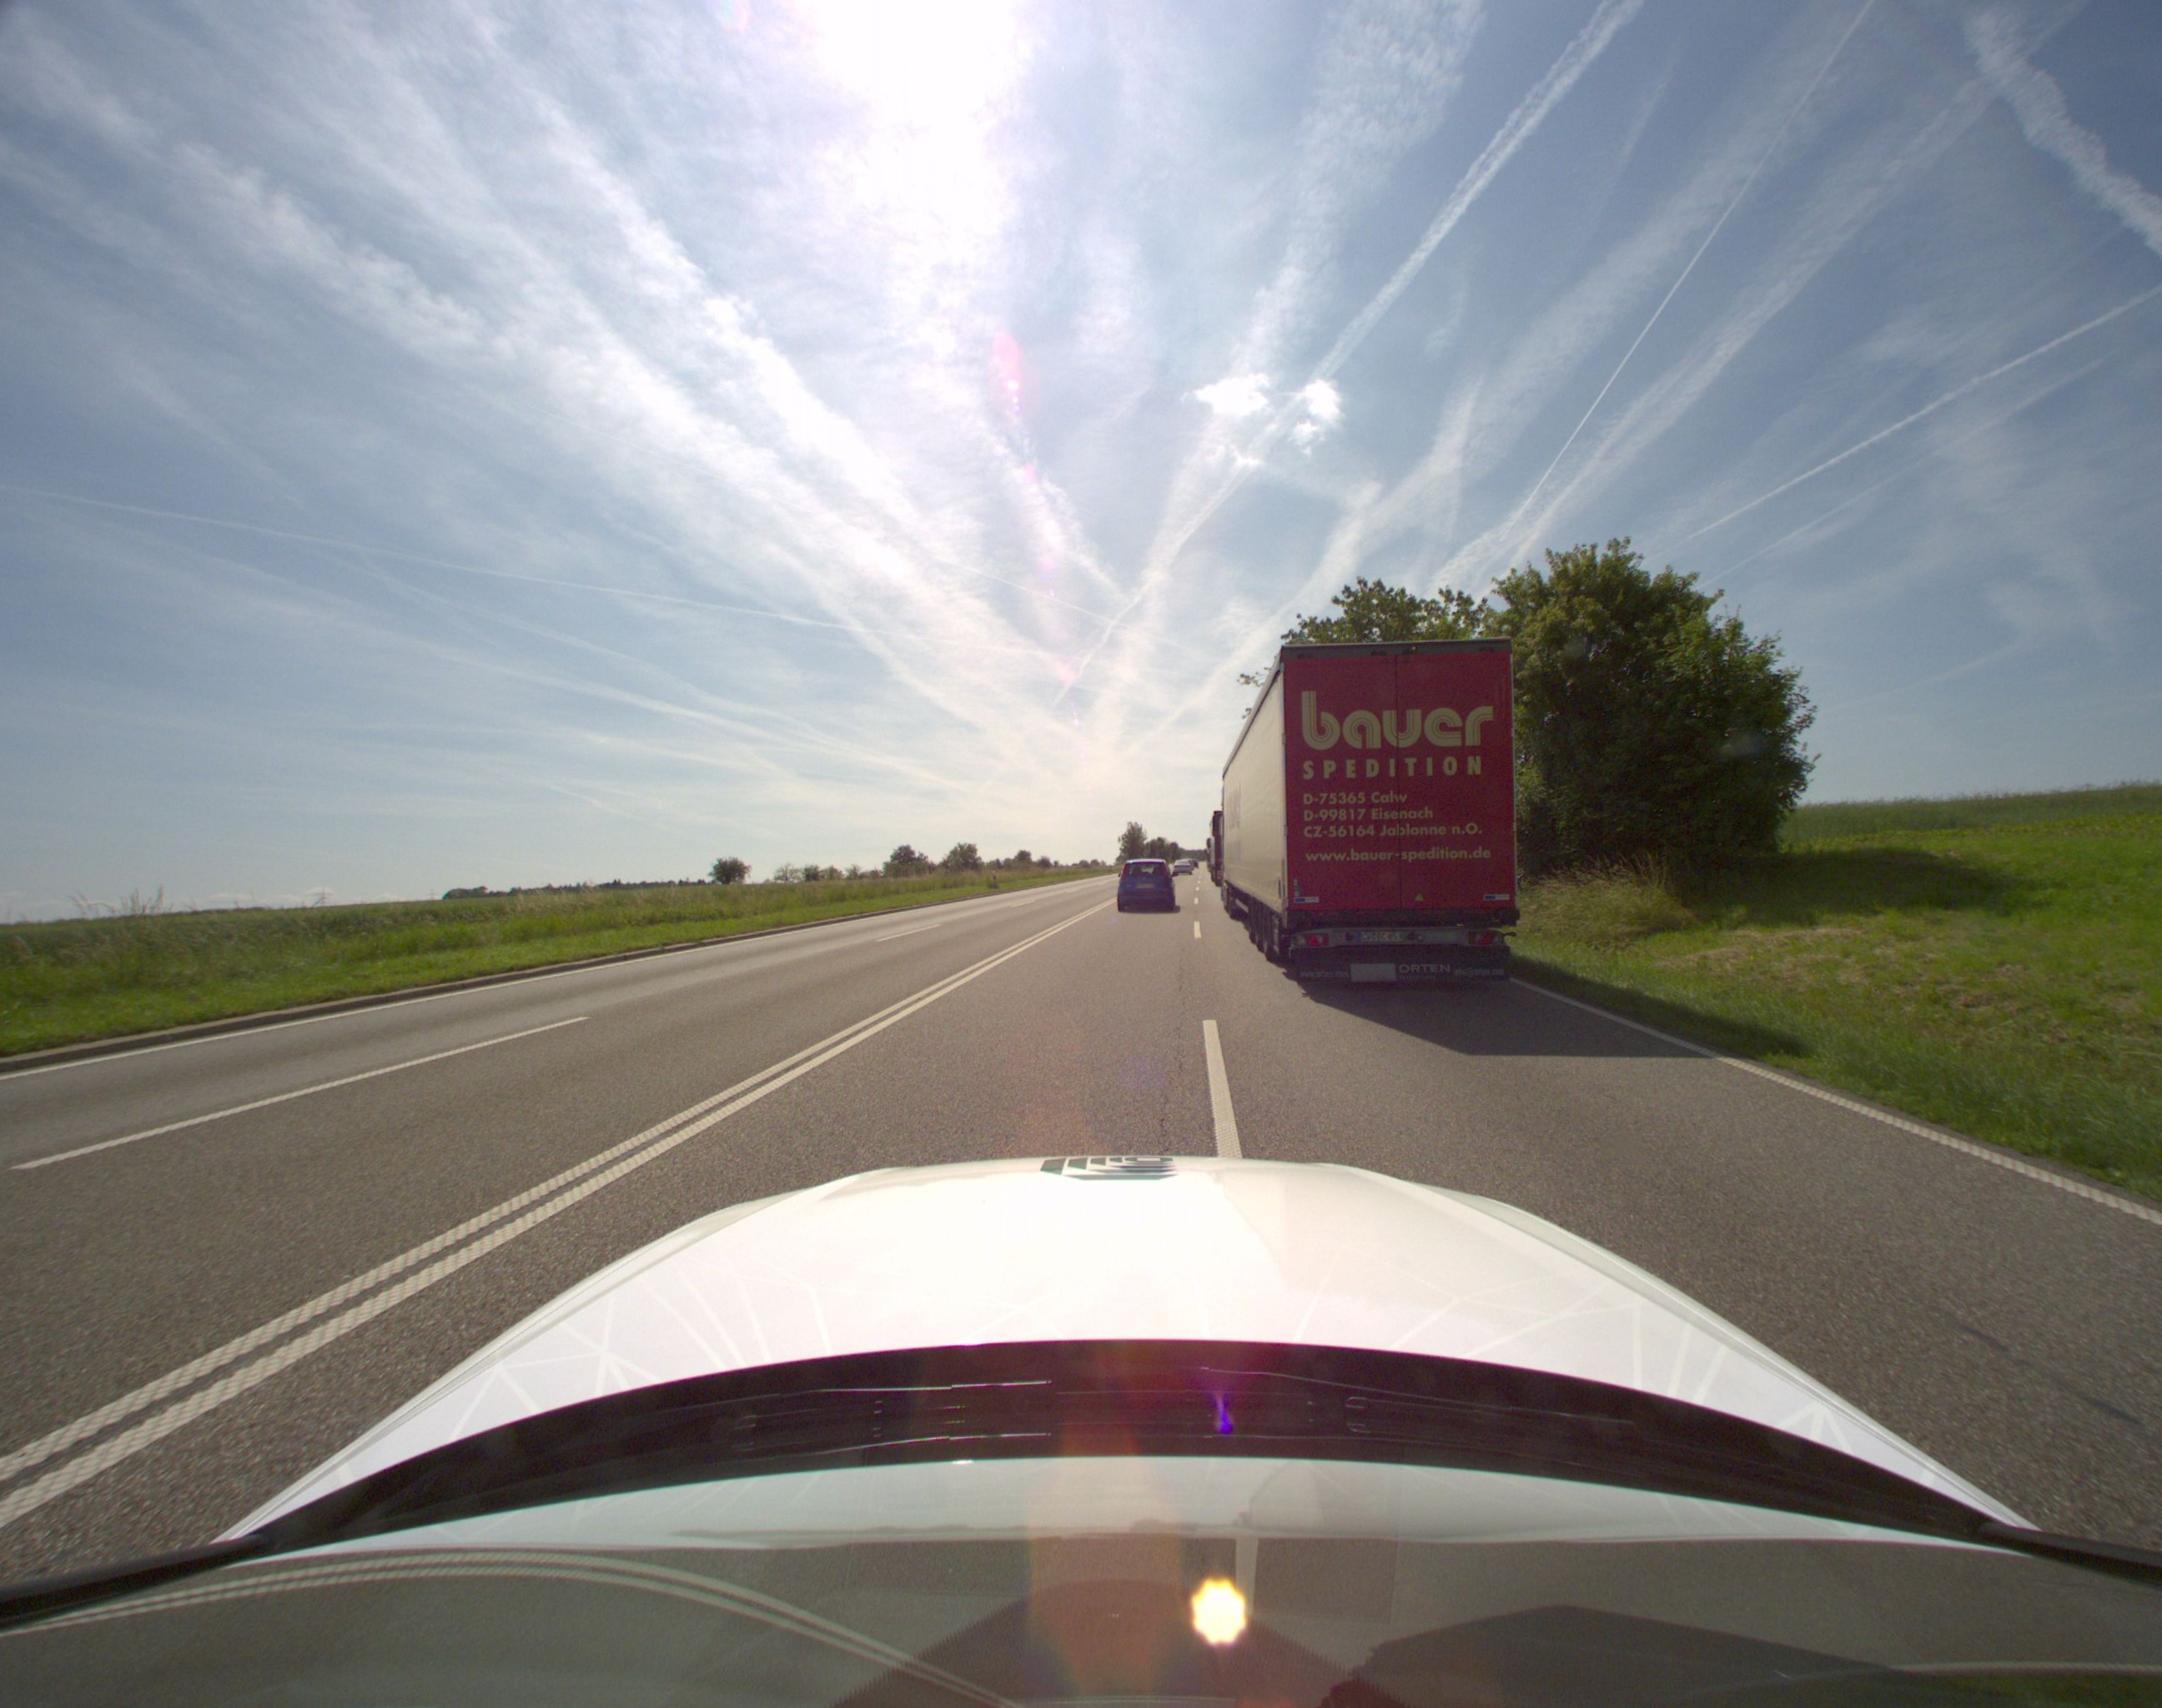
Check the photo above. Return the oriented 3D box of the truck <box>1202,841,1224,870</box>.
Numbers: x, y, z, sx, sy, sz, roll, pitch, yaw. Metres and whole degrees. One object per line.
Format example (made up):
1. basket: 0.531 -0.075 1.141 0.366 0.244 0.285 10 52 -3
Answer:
1. truck: 19.408 0.304 120.268 3.029 3.910 18.441 -1 -1 9

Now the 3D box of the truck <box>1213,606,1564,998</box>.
1. truck: 4.644 -0.501 17.162 2.991 4.180 16.745 -1 0 7

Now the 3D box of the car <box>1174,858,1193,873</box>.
1. car: 9.833 1.103 78.149 1.694 1.376 4.612 0 0 7

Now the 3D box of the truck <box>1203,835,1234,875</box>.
1. truck: 15.000 0.128 89.773 3.029 3.910 18.441 -1 -1 9

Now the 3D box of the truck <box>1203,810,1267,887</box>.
1. truck: 8.996 -0.214 49.207 3.030 3.910 15.650 -1 -1 8

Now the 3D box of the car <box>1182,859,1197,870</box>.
1. car: 14.130 1.330 105.519 1.810 1.472 4.800 0 0 9

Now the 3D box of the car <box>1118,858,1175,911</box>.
1. car: 2.127 0.916 25.661 1.623 1.531 3.922 -1 -1 6
